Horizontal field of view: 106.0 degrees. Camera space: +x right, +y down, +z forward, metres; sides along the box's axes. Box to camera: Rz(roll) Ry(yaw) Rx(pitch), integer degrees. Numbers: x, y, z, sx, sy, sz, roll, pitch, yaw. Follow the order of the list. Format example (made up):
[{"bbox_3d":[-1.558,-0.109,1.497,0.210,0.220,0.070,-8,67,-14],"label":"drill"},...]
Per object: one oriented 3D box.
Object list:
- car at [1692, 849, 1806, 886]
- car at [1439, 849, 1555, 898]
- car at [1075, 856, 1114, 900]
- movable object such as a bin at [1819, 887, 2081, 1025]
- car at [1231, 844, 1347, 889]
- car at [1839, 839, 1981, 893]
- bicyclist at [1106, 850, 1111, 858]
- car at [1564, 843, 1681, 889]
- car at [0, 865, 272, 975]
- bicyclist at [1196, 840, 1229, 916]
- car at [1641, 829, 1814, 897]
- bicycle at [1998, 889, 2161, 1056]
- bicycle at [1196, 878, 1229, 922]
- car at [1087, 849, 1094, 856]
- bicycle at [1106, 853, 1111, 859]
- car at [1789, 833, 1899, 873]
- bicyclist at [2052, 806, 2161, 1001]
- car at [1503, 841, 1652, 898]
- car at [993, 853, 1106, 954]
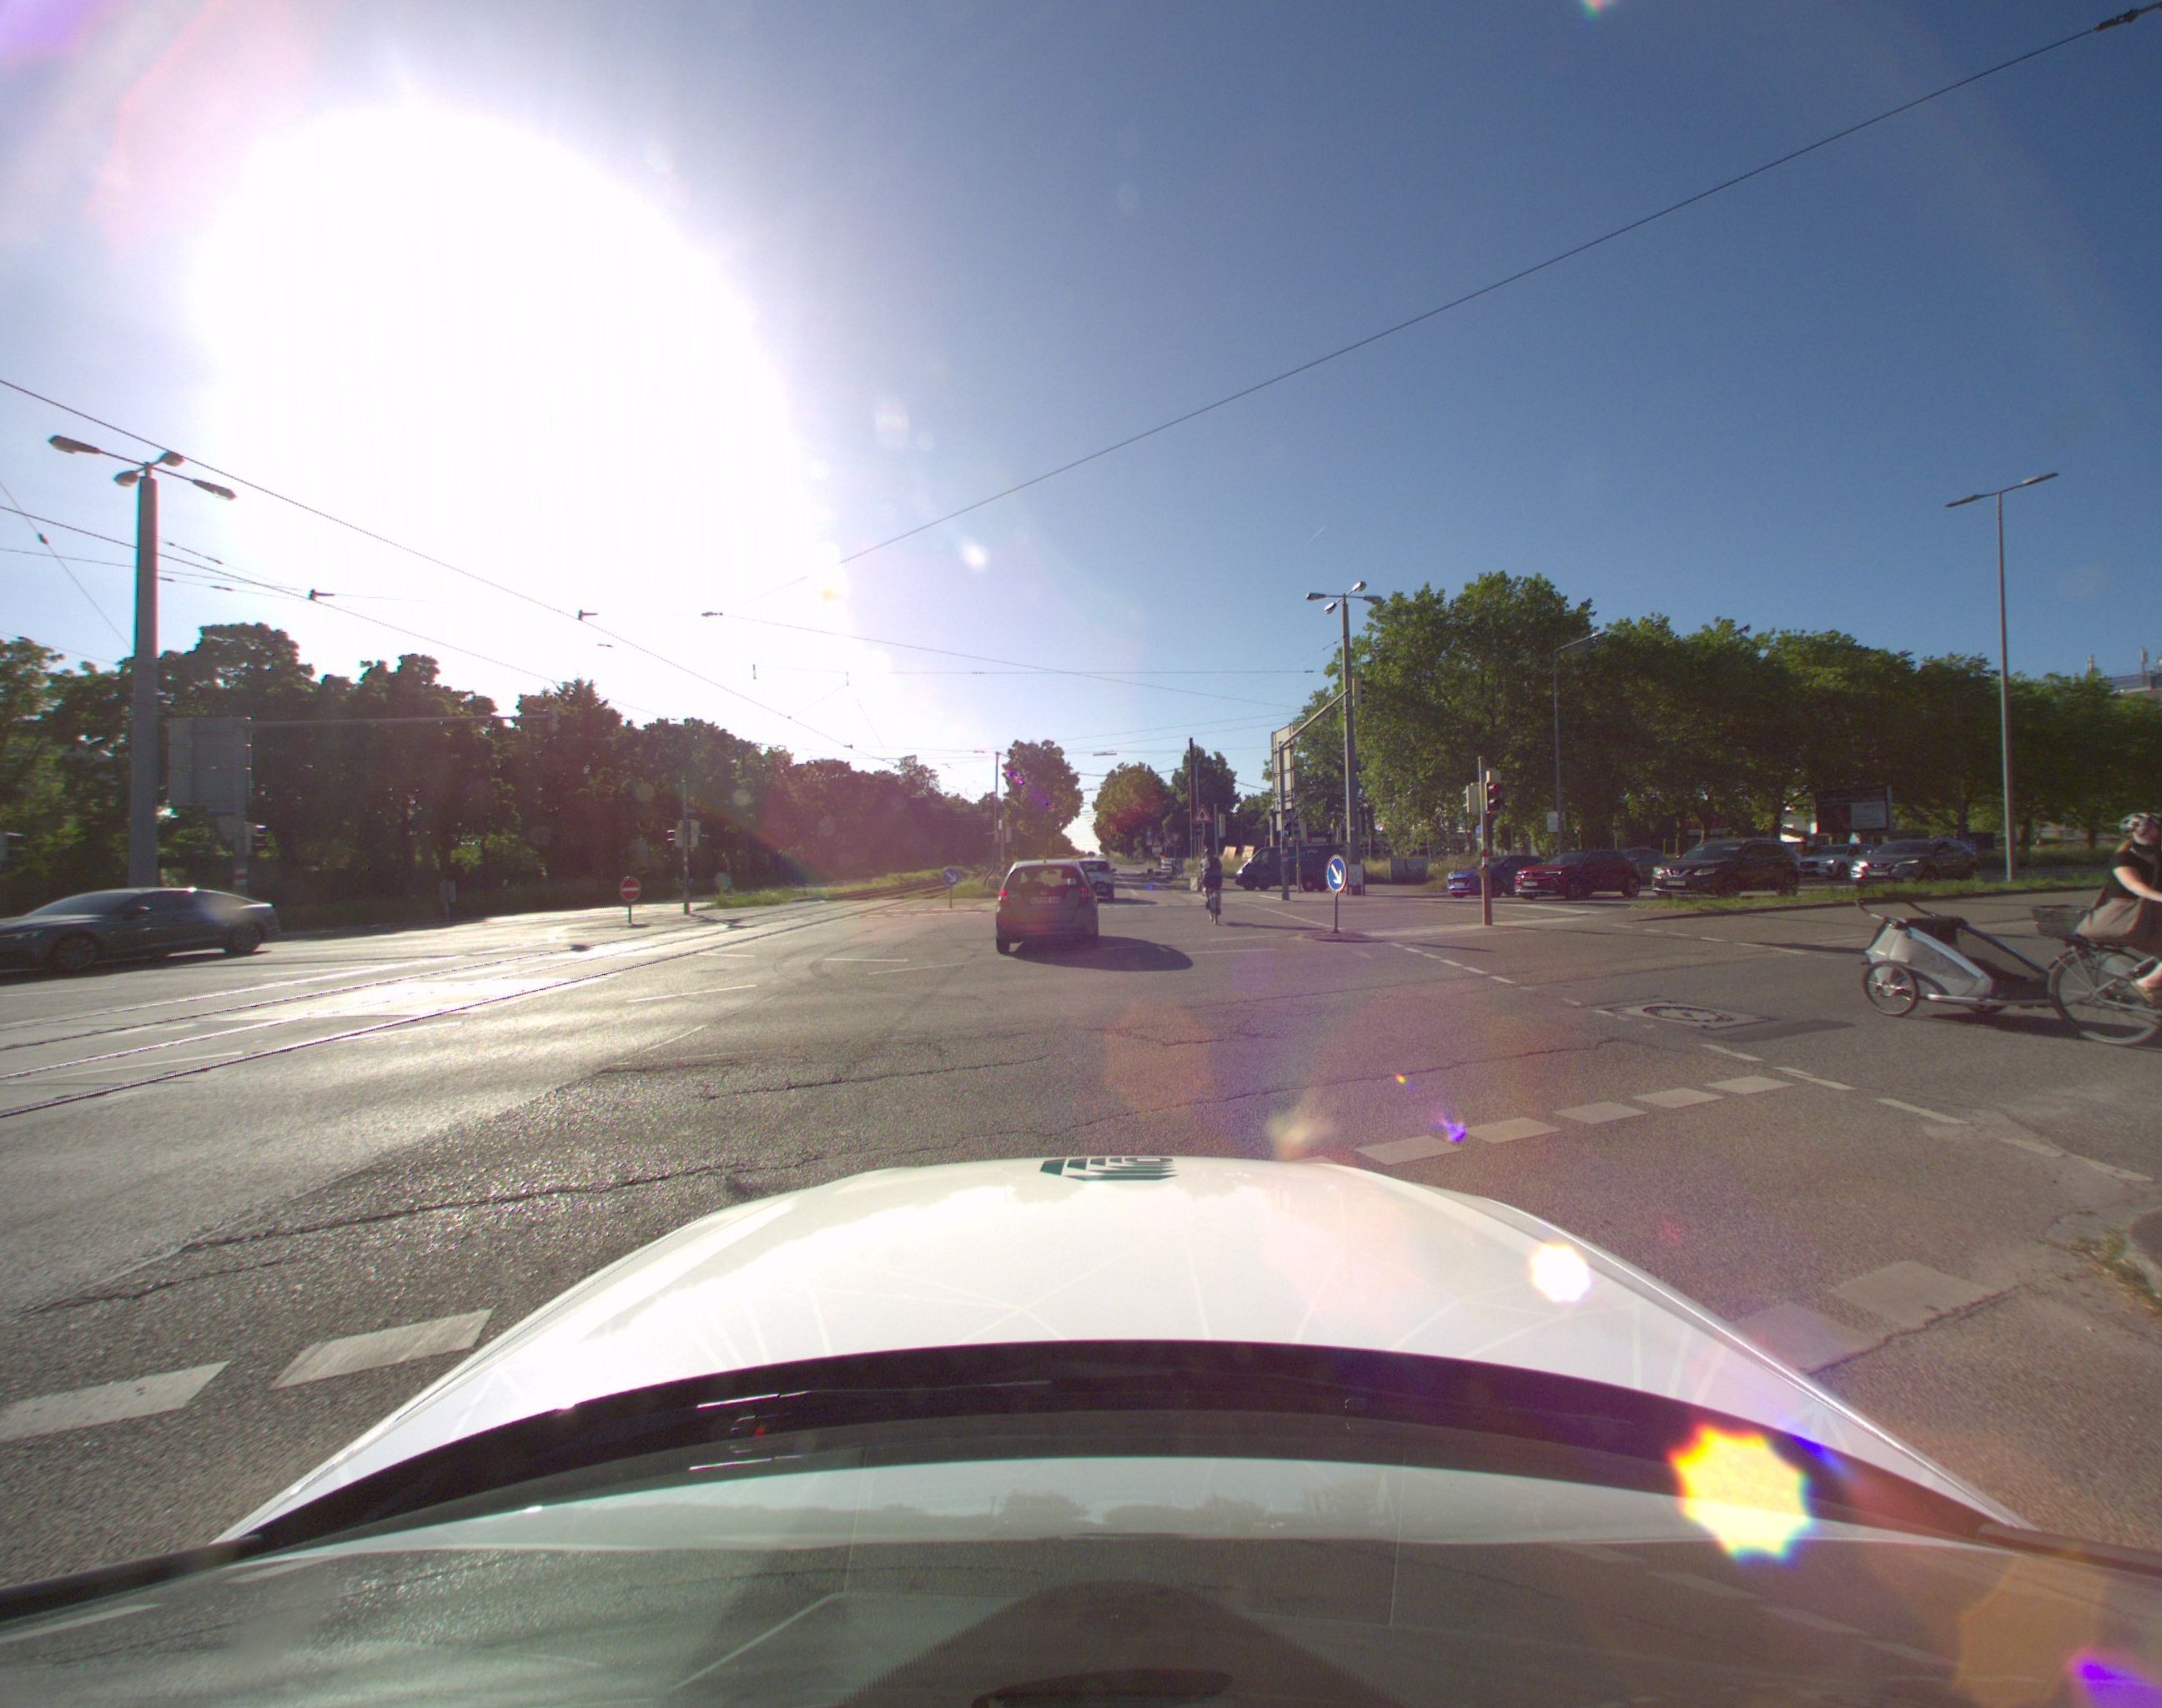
[{"bbox_3d":[28.527,0.579,34.771,4.577,1.408,1.919,-1,-1,-25],"label":"car"},{"bbox_3d":[14.992,0.676,29.330,3.866,1.600,1.699,-1,-1,-25],"label":"car"},{"bbox_3d":[0.533,0.888,30.799,1.346,1.528,3.125,-2,-1,2],"label":"car"},{"bbox_3d":[7.727,0.858,7.333,0.907,1.068,1.315,-2,-1,-4],"label":"movable object such as a bin"},{"bbox_3d":[10.132,0.640,39.809,5.053,2.070,2.144,-2,-1,34],"label":"car"},{"bbox_3d":[27.238,0.376,26.754,4.006,1.618,1.984,-1,-1,-24],"label":"car"},{"bbox_3d":[5.403,0.033,160.468,0.814,1.524,0.966,-1,-2,2],"label":"bicyclist"},{"bbox_3d":[21.228,0.449,31.910,4.182,1.678,1.918,-1,-1,-25],"label":"car"},{"bbox_3d":[-17.451,1.065,14.574,1.784,1.688,4.004,-2,-1,3],"label":"car"},{"bbox_3d":[3.008,0.550,18.691,0.612,1.679,0.934,-2,-1,2],"label":"bicyclist"},{"bbox_3d":[17.971,0.221,22.639,4.502,1.711,1.905,-1,-1,-25],"label":"car"},{"bbox_3d":[7.687,0.834,5.666,0.465,1.119,1.818,-1,-1,-3],"label":"bicycle"},{"bbox_3d":[3.044,1.037,18.977,0.521,0.923,2.091,-2,-1,4],"label":"bicycle"},{"bbox_3d":[2.631,-0.431,225.400,1.986,2.014,4.002,-1,-1,2],"label":"car"},{"bbox_3d":[5.396,0.371,160.440,0.814,1.048,2.507,-1,-2,3],"label":"bicycle"},{"bbox_3d":[34.411,-0.018,36.727,4.782,1.682,1.893,0,-2,-24],"label":"car"},{"bbox_3d":[7.643,0.339,5.894,0.509,1.340,0.564,-2,-1,-6],"label":"bicyclist"},{"bbox_3d":[15.326,0.461,25.163,4.092,1.600,1.803,-1,-1,-21],"label":"car"},{"bbox_3d":[-0.443,0.764,14.545,1.664,1.515,3.677,0,1,3],"label":"car"}]
